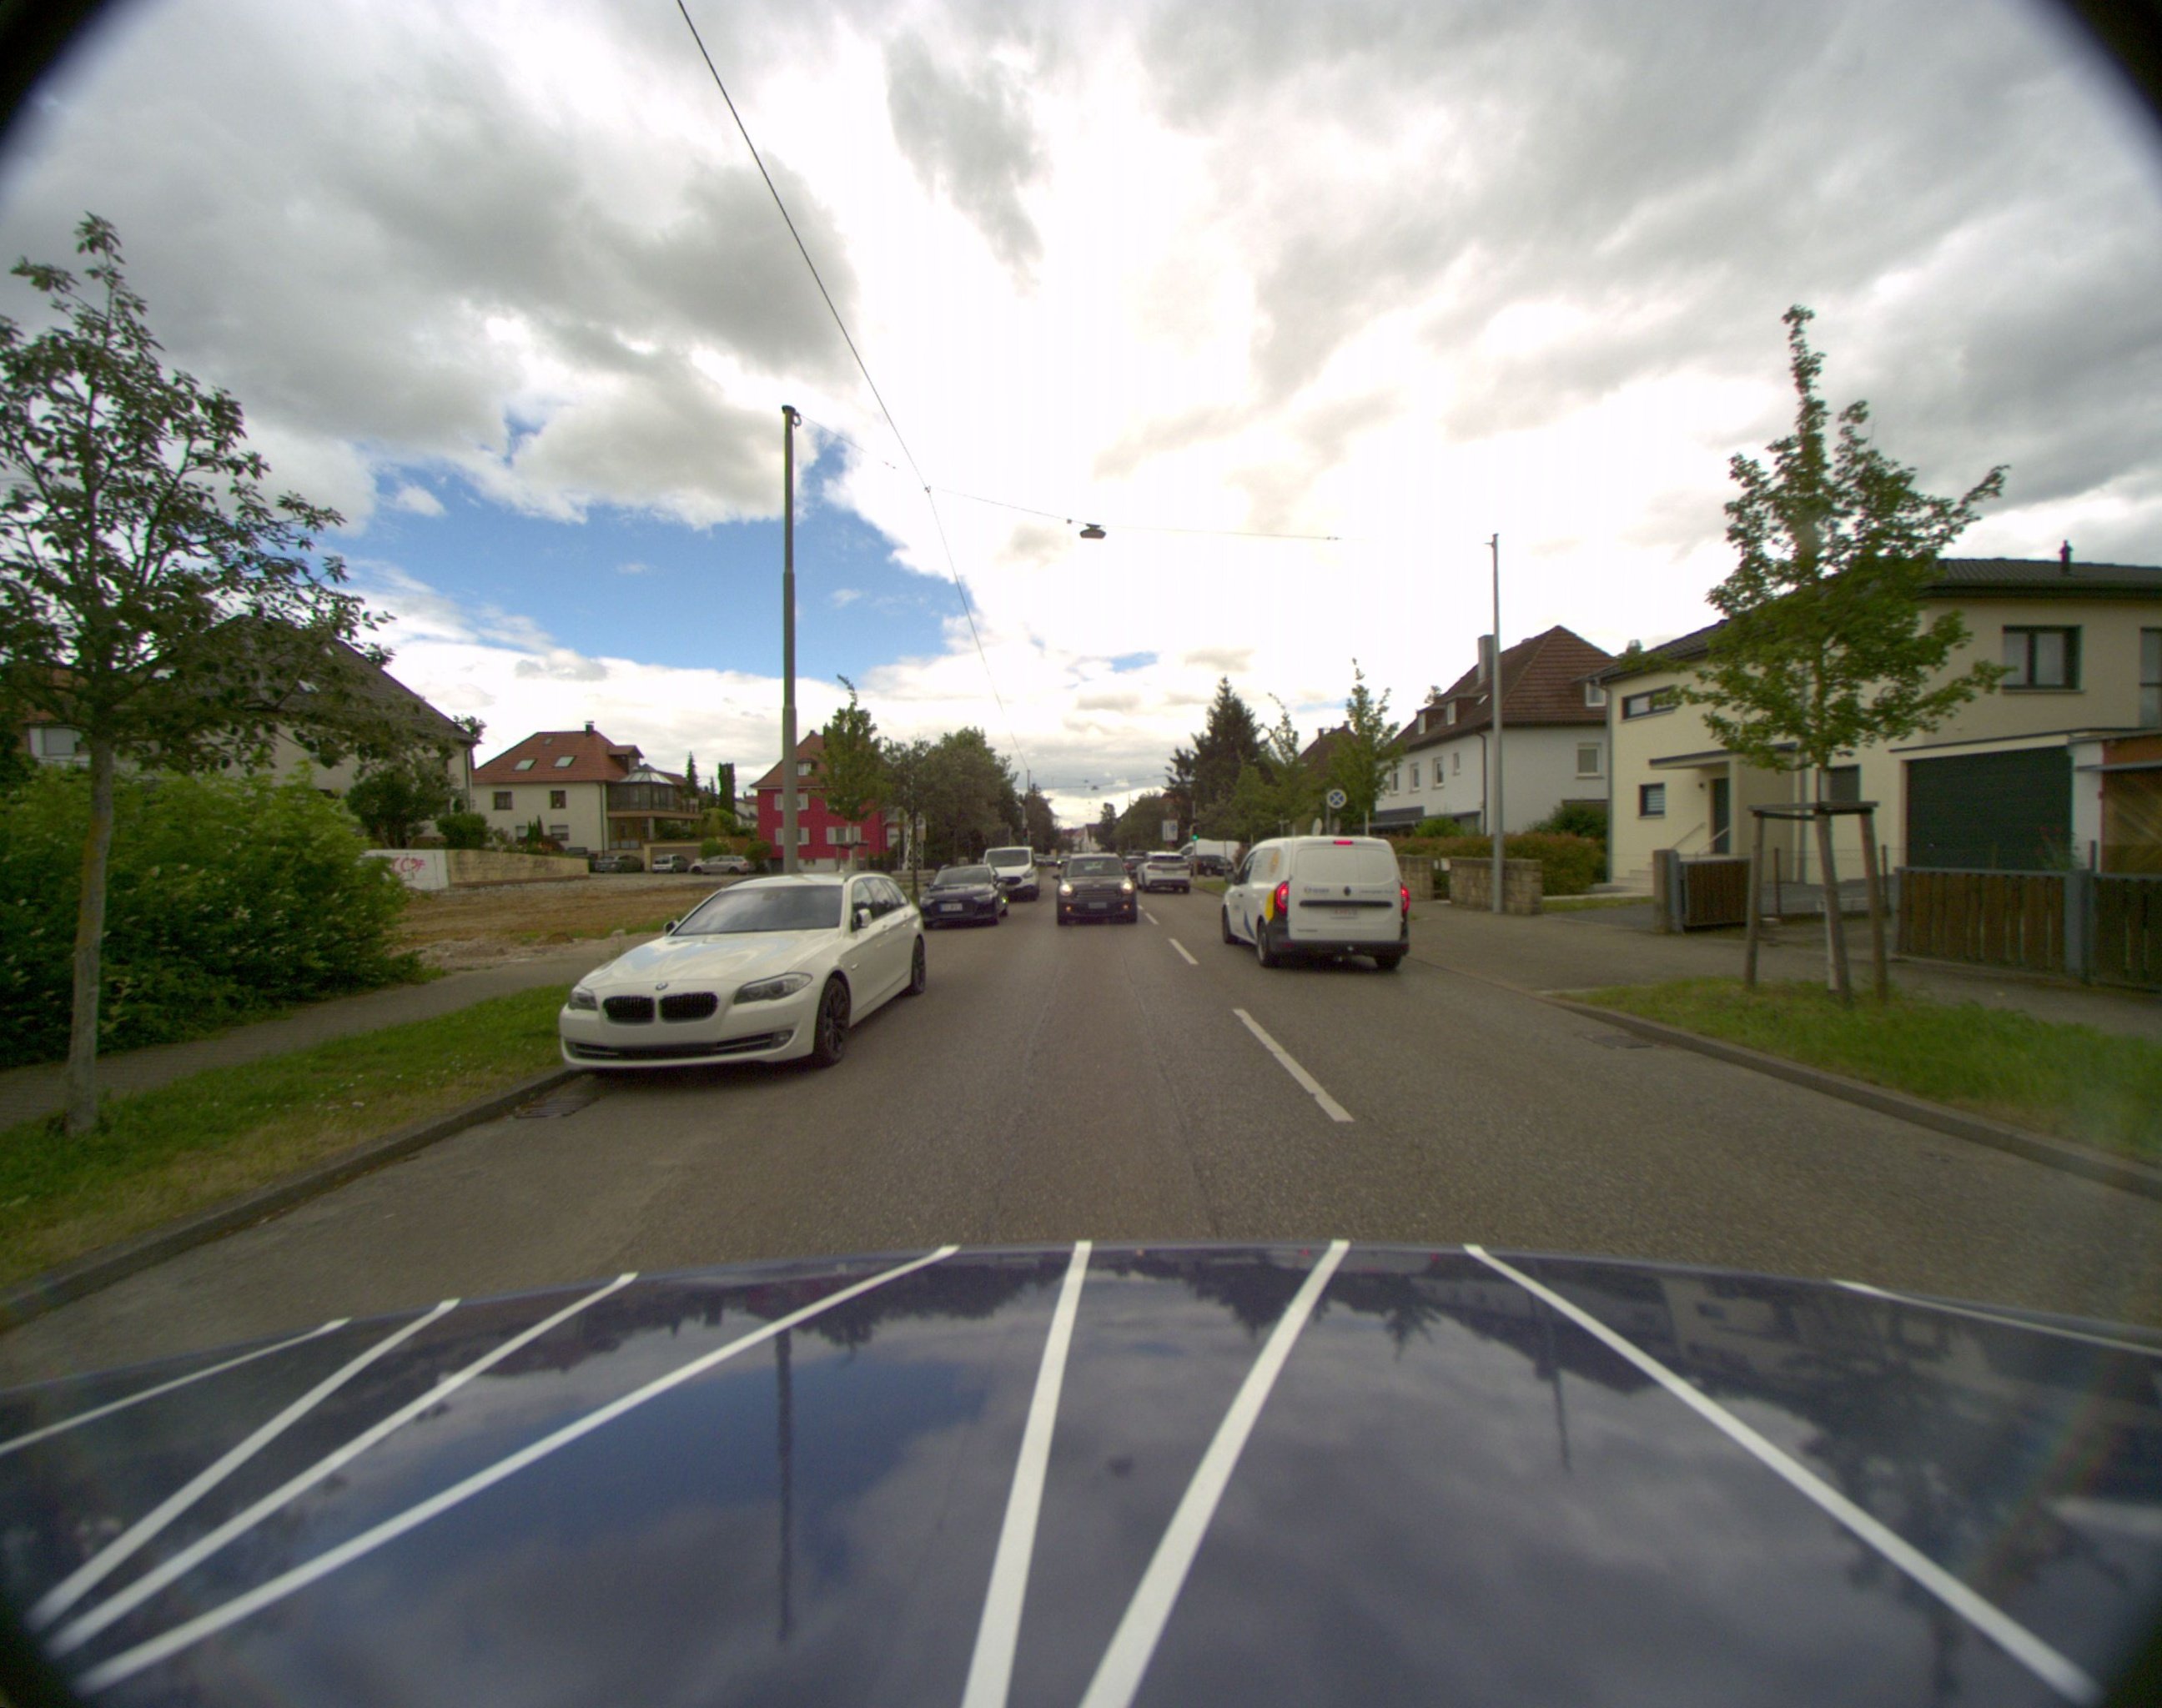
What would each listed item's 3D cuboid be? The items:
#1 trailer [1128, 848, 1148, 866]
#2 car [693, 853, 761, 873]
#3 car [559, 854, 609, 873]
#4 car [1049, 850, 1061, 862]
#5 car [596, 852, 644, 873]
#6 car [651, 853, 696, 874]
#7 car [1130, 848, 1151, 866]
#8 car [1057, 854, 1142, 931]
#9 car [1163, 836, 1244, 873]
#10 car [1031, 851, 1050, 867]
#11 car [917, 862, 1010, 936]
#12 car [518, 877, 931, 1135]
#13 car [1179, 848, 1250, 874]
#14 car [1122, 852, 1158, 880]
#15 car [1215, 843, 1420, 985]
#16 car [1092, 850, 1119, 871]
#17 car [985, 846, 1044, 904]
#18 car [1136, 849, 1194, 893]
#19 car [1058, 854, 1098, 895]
[{"bbox_3d":[6.915,0.394,92.455,2.160,2.076,4.425,-1,0,0],"label":"trailer"},{"bbox_3d":[-26.077,0.678,56.070,4.231,1.416,1.760,0,-1,-2],"label":"car"},{"bbox_3d":[-39.249,0.708,60.045,1.622,1.316,3.501,-3,1,-1],"label":"car"},{"bbox_3d":[-3.674,0.294,108.590,1.728,1.582,4.156,0,0,-1],"label":"car"},{"bbox_3d":[-36.461,0.641,60.212,1.622,1.459,3.501,-3,1,-1],"label":"car"},{"bbox_3d":[-31.934,0.708,59.704,1.622,1.531,3.501,-3,1,-1],"label":"car"},{"bbox_3d":[6.646,0.298,85.360,1.998,1.938,4.898,-1,0,0],"label":"car"},{"bbox_3d":[0.441,0.813,17.838,1.743,1.573,3.684,-1,0,1],"label":"car"},{"bbox_3d":[9.012,0.011,55.896,5.610,2.549,2.133,1,2,18],"label":"car"},{"bbox_3d":[-4.858,0.552,91.215,1.902,1.826,4.915,0,0,2],"label":"car"},{"bbox_3d":[-2.771,1.002,18.755,1.669,1.507,4.220,-2,0,-1],"label":"car"},{"bbox_3d":[-2.744,1.055,7.125,1.697,1.445,4.404,-3,0,0],"label":"car"},{"bbox_3d":[8.927,0.437,50.665,4.656,1.611,1.995,-1,0,-36],"label":"car"},{"bbox_3d":[3.291,0.638,42.961,1.620,1.463,3.999,-1,1,-1],"label":"car"},{"bbox_3d":[3.278,0.732,11.468,1.800,1.741,4.298,0,0,1],"label":"car"},{"bbox_3d":[1.925,0.483,60.999,1.900,1.615,3.999,-1,1,-2],"label":"car"},{"bbox_3d":[-2.412,0.725,28.486,1.779,1.932,4.788,-2,0,-1],"label":"car"},{"bbox_3d":[3.368,0.649,31.197,1.818,1.683,4.465,0,0,-1],"label":"car"},{"bbox_3d":[-0.089,0.827,32.489,1.590,1.598,3.684,-1,0,1],"label":"car"}]
